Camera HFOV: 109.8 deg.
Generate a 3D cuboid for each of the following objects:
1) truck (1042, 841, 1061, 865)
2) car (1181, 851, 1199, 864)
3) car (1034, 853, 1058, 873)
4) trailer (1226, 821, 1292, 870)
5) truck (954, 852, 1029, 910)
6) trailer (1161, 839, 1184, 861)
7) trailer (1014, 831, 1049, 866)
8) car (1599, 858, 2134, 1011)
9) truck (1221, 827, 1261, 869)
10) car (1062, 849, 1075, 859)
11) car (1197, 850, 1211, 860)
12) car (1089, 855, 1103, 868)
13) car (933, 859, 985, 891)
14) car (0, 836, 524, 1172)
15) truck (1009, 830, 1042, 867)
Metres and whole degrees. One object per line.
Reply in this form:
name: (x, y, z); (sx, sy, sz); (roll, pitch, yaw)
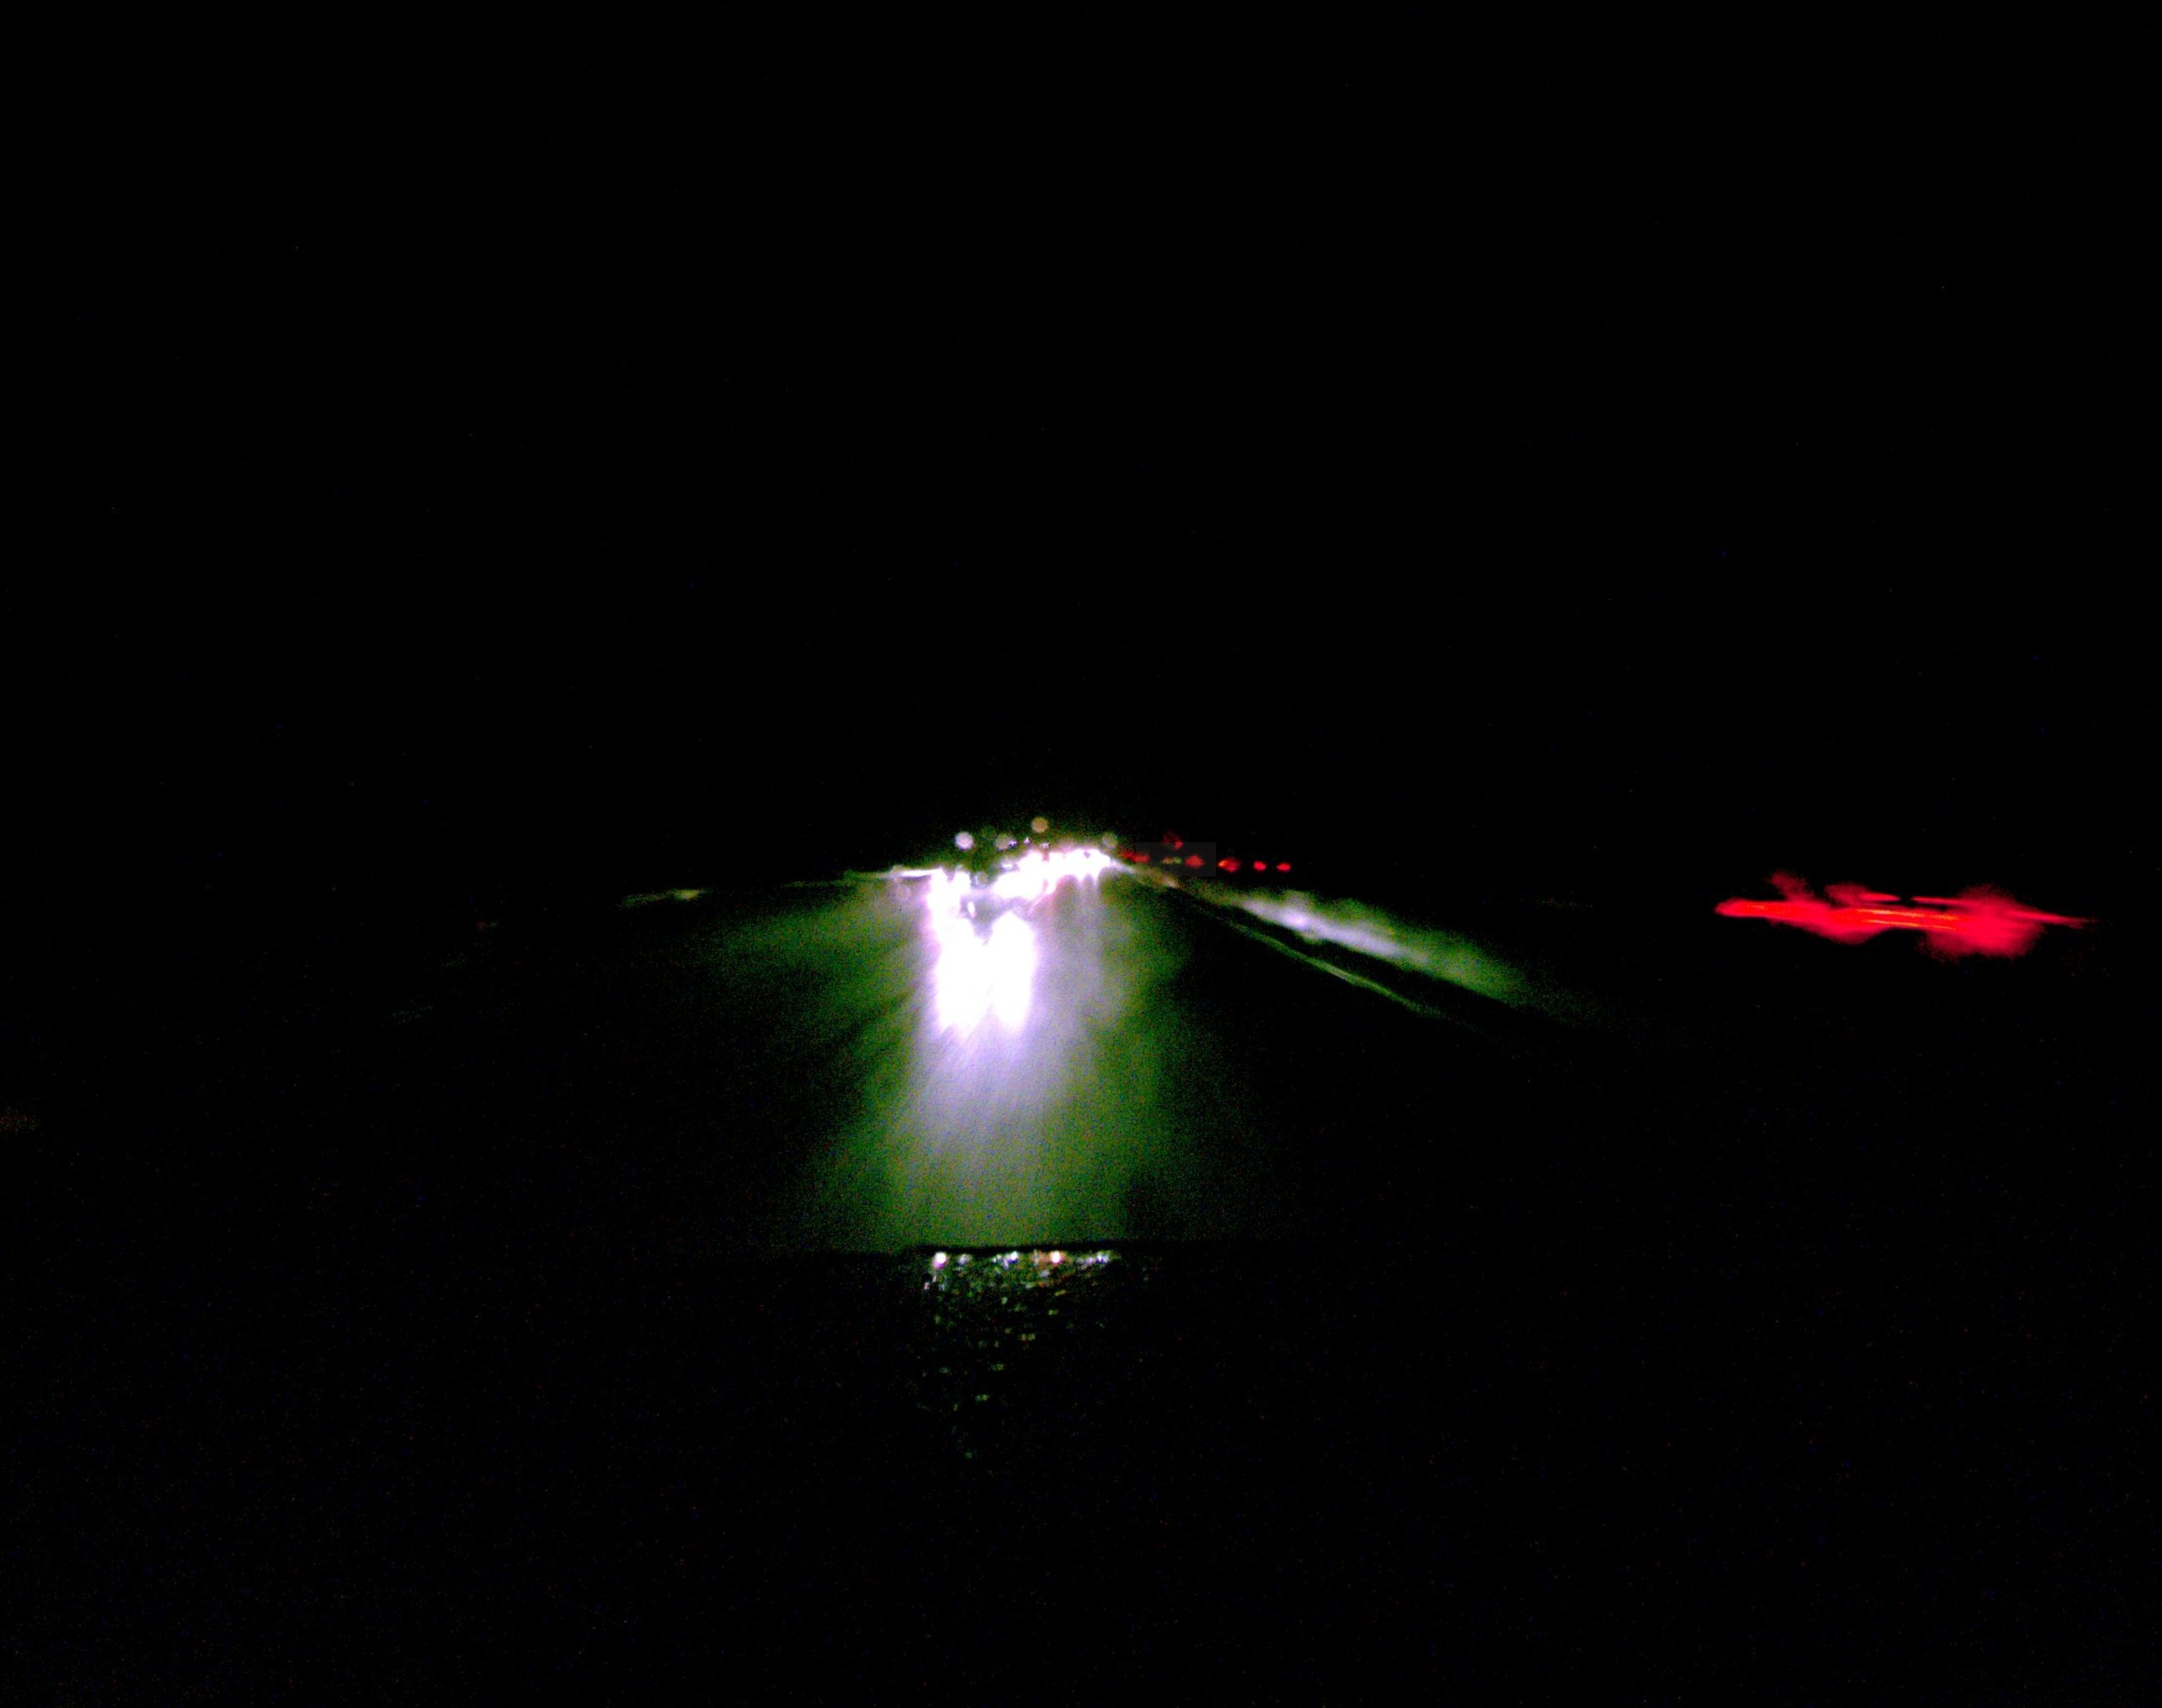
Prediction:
truck: (-5.155, -0.190, 134.187); (2.778, 4.169, 6.016); (-3, 1, 2)
car: (13.760, 0.408, 96.081); (1.682, 1.588, 4.348); (0, 0, -1)
car: (-2.845, 0.718, 62.289); (1.619, 1.494, 3.767); (-2, 1, 2)
trailer: (17.487, -0.697, 76.104); (2.894, 4.278, 15.719); (-2, -1, 1)
truck: (-2.971, 0.847, 26.124); (1.848, 1.686, 4.854); (-2, 1, 1)
trailer: (18.739, -0.804, 157.198); (3.056, 4.268, 14.408); (1, 0, 0)
trailer: (-6.113, -0.720, 95.773); (2.871, 4.074, 13.641); (-2, 1, 2)
car: (8.678, 0.753, 9.121); (1.967, 1.337, 4.288); (-2, 0, 0)
truck: (17.571, -0.593, 83.950); (2.894, 4.309, 6.746); (-2, -1, 1)
car: (-2.079, -0.018, 127.280); (1.944, 1.521, 4.000); (-2, 1, 2)
car: (25.526, 0.213, 157.587); (2.219, 1.882, 4.789); (0, 0, 0)
car: (1.829, 0.850, 92.705); (1.619, 1.452, 3.767); (-2, 1, 2)
car: (-6.244, 1.034, 39.542); (1.747, 1.470, 5.366); (-2, 0, 1)
car: (-7.359, 0.913, 5.862); (2.051, 1.962, 5.406); (-2, 0, 0)
truck: (-6.370, -0.639, 88.334); (2.866, 4.079, 7.014); (-3, 1, 2)
